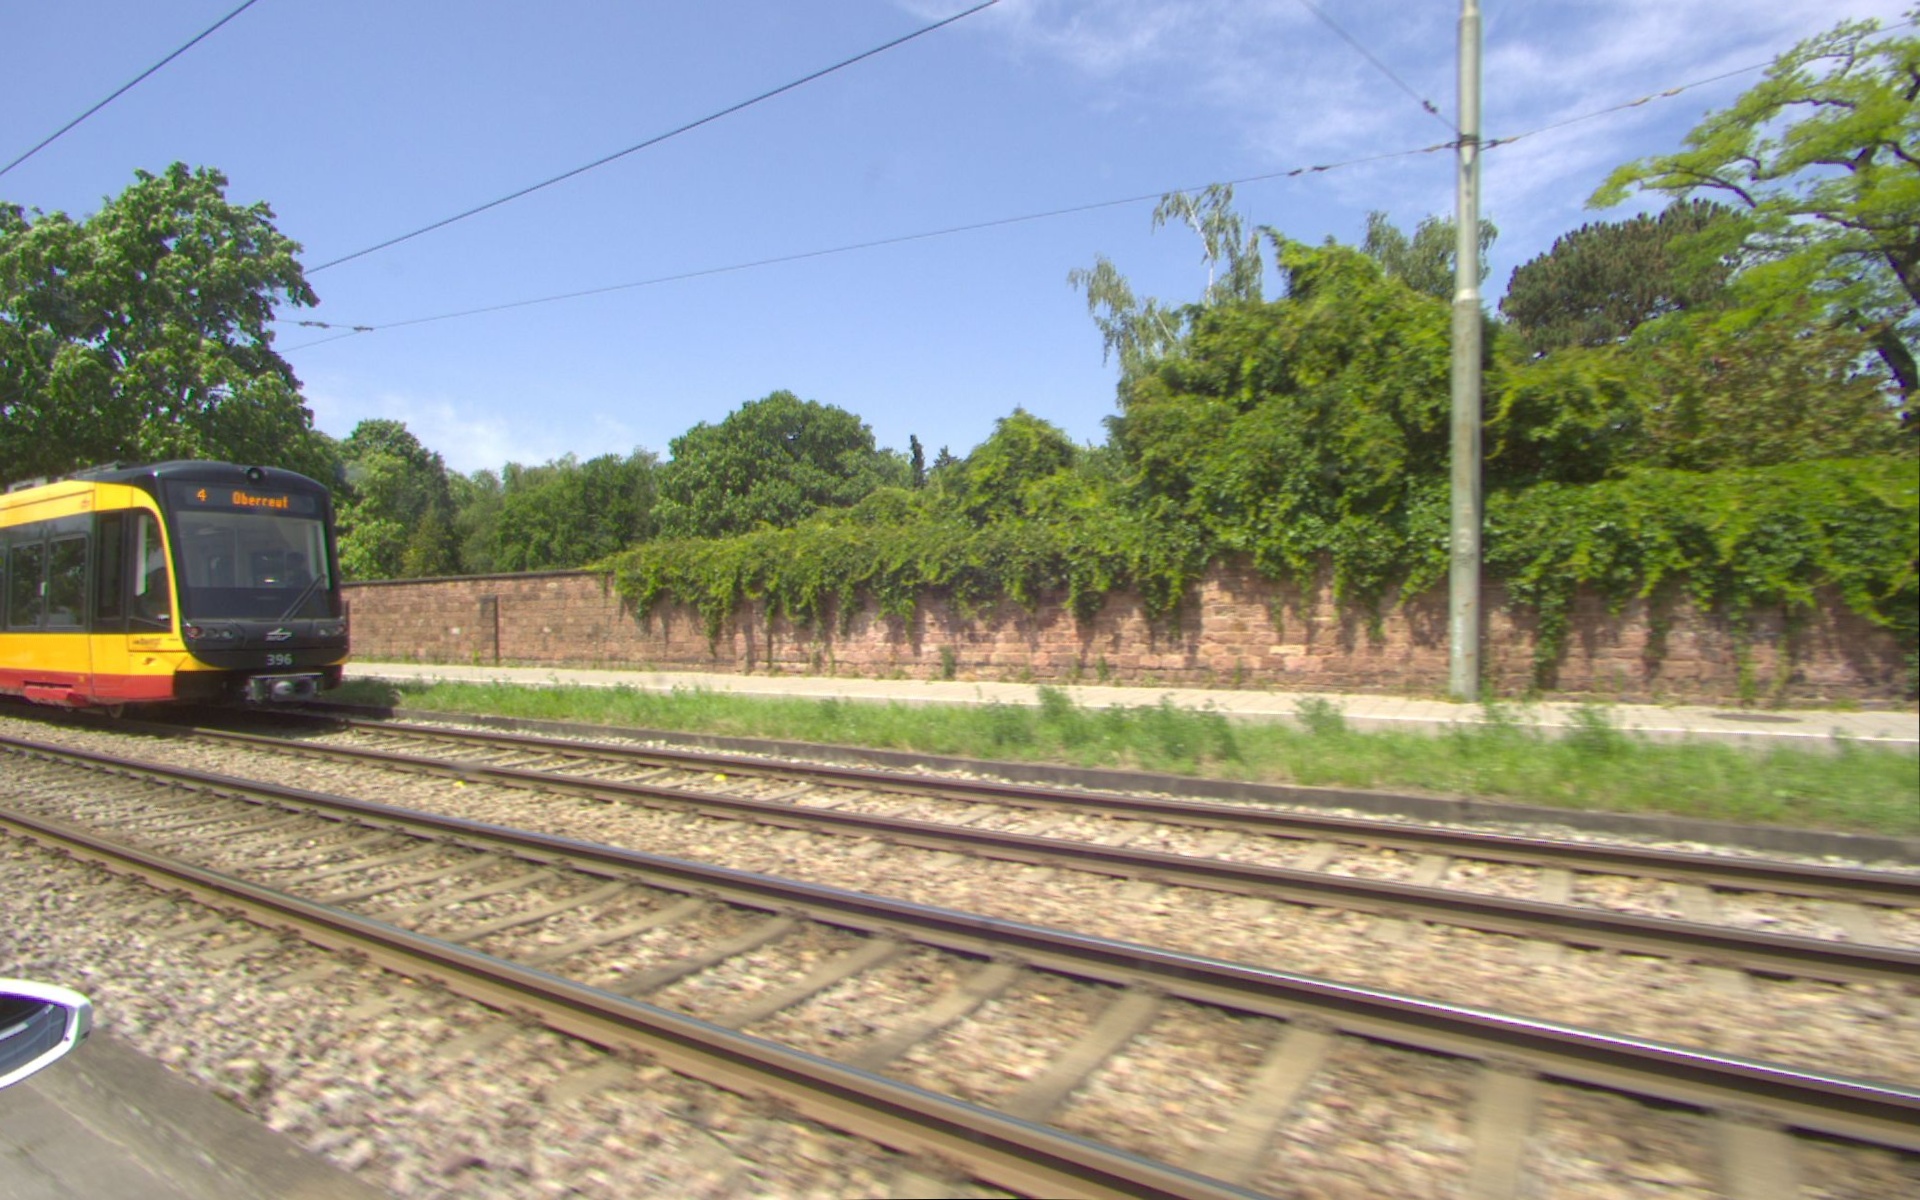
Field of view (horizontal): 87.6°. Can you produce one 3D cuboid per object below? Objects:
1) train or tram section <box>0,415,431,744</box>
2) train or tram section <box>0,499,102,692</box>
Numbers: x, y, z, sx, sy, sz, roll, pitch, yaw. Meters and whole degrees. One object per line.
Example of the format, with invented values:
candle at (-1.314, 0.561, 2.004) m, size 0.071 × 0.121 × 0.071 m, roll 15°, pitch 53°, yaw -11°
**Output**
train or tram section at (-13.786, -0.162, 16.508) m, size 12.903 × 3.848 × 3.022 m, roll -1°, pitch 0°, yaw 33°
train or tram section at (-24.542, -0.017, 23.577) m, size 12.903 × 3.848 × 3.022 m, roll -1°, pitch 0°, yaw 33°
